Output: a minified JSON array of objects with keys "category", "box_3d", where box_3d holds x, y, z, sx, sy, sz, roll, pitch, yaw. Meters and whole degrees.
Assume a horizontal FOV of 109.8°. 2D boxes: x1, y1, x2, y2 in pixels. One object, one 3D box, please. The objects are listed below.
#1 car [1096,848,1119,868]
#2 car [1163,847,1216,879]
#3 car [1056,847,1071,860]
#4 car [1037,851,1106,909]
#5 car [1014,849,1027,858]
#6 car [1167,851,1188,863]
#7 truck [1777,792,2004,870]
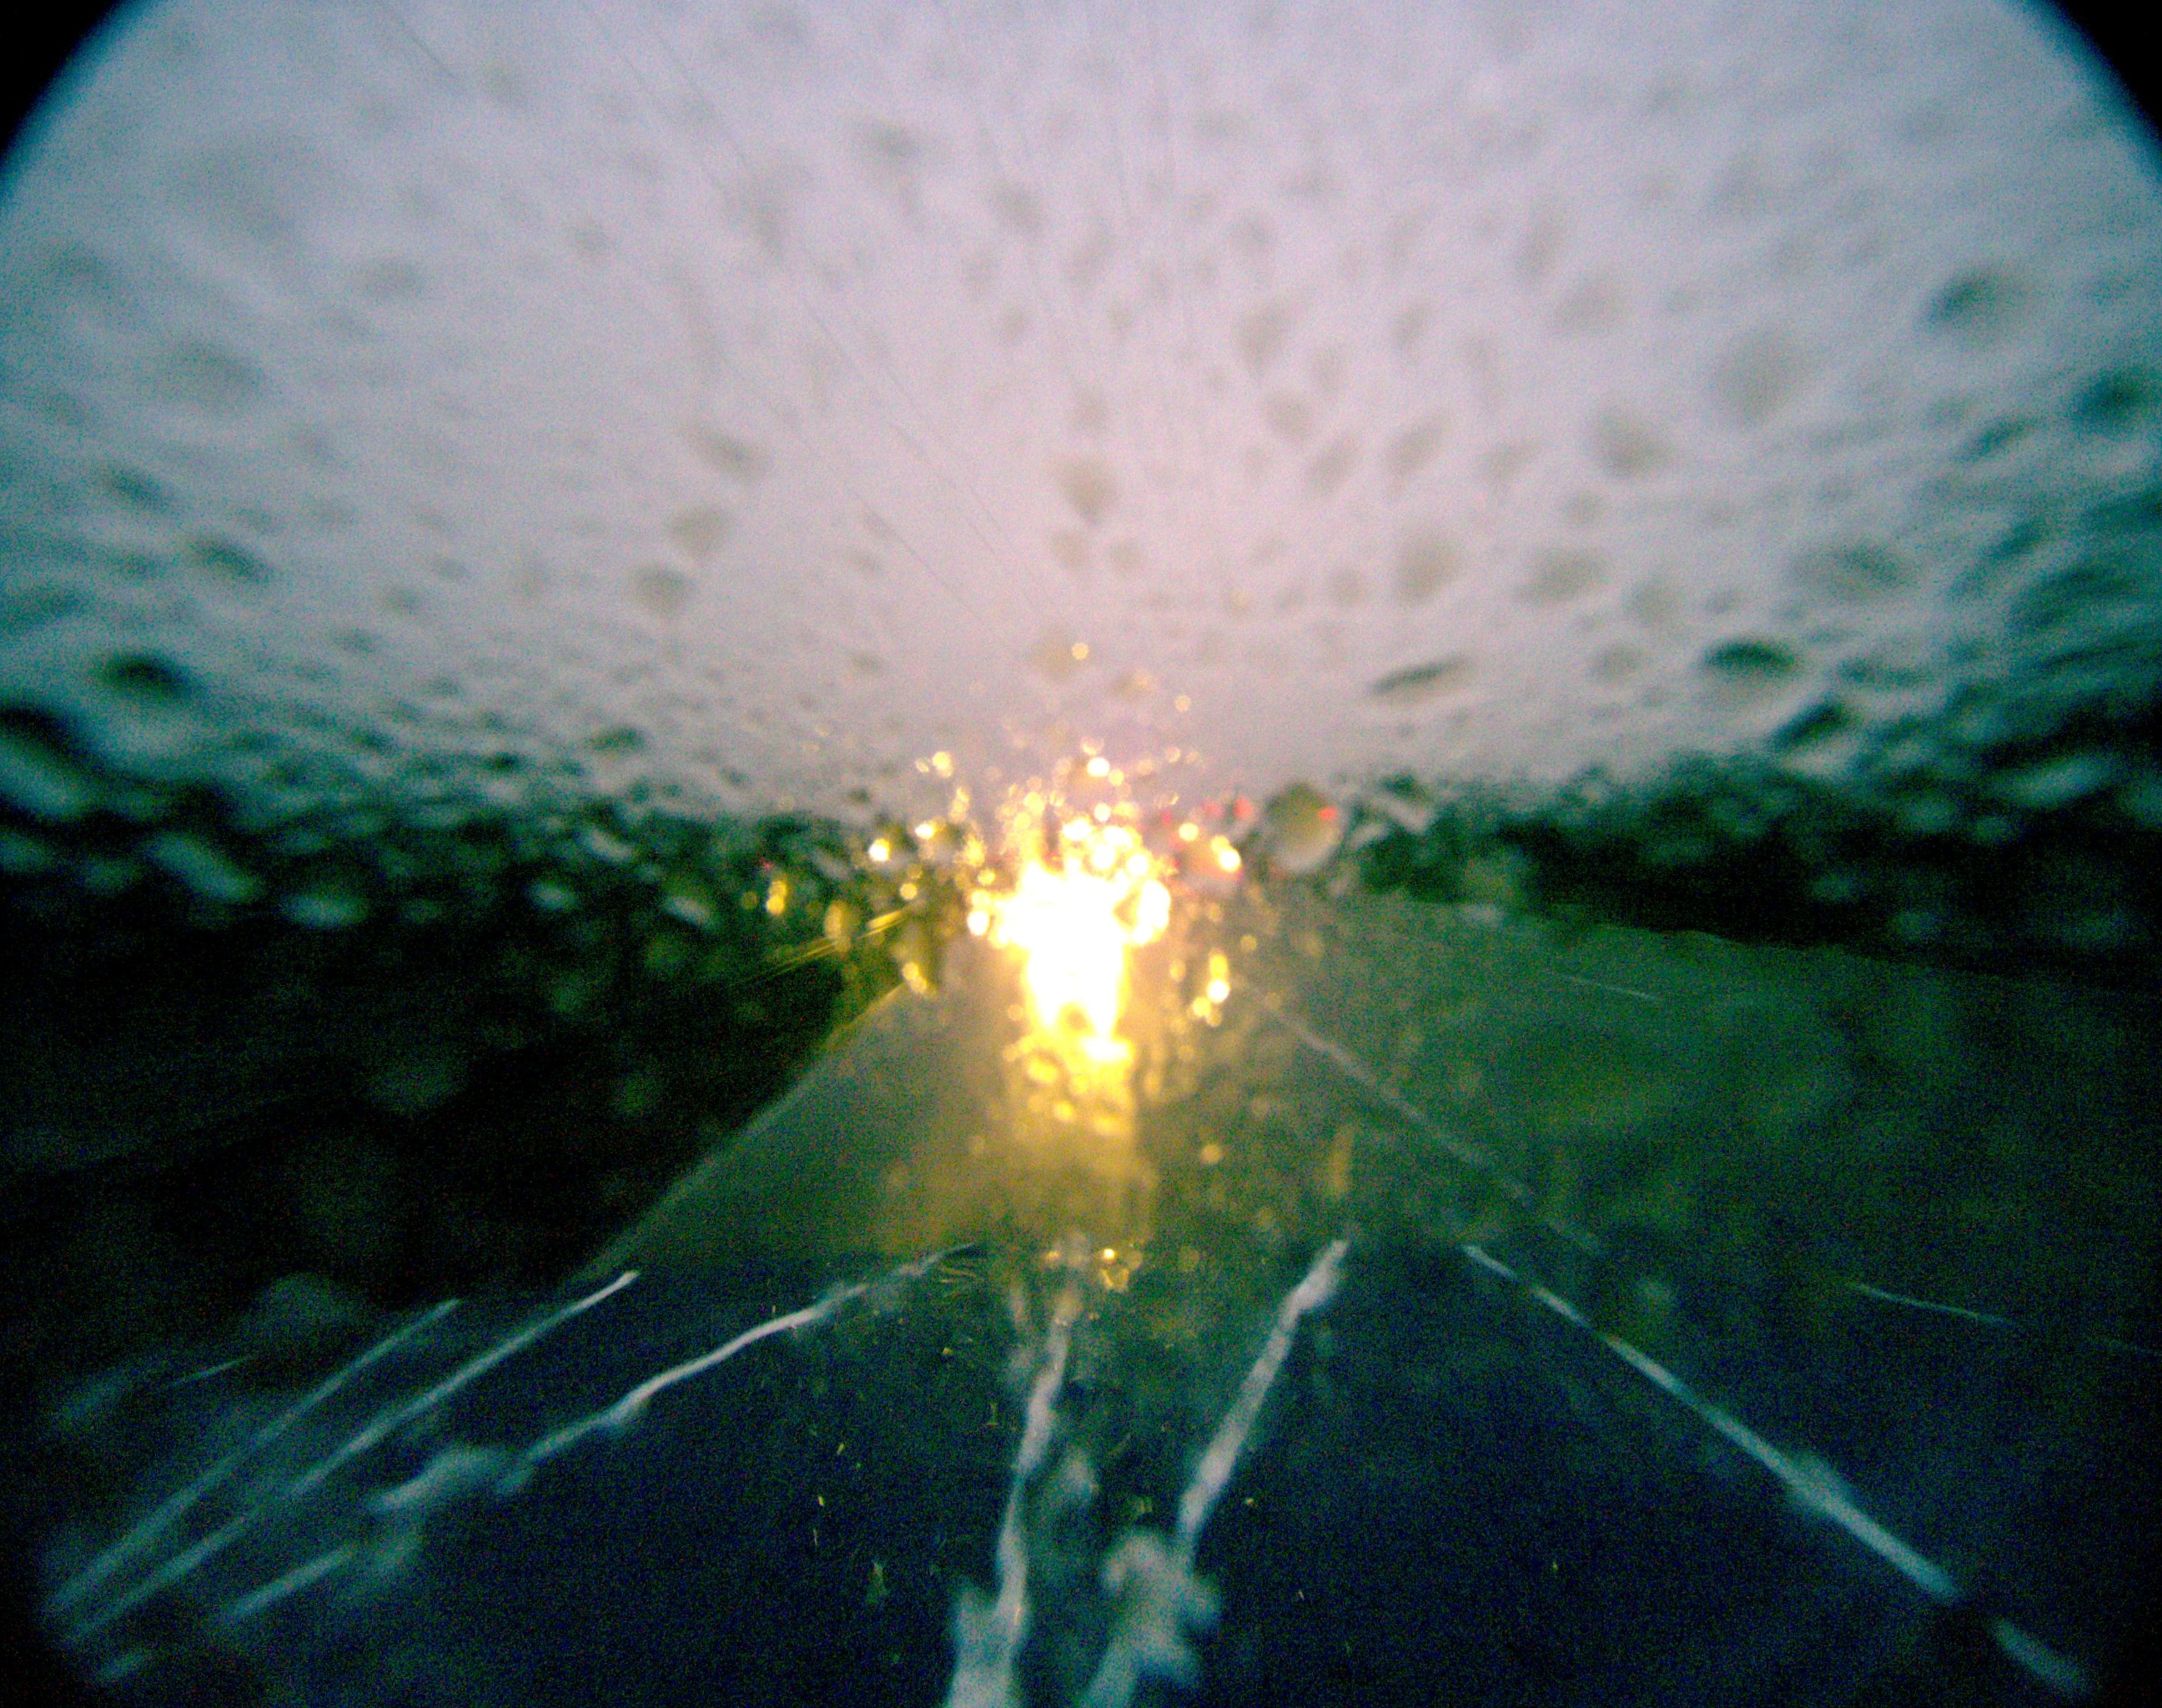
[{"category":"car","box_3d":[2.356,0.339,66.058,1.893,1.580,4.382,-2,1,2]},{"category":"car","box_3d":[5.569,0.442,39.528,1.999,1.481,4.380,-2,1,-2]},{"category":"car","box_3d":[-2.166,-0.063,91.285,1.640,1.464,4.446,-1,2,-3]},{"category":"car","box_3d":[-0.326,0.734,23.517,1.887,1.514,3.999,-3,1,-1]},{"category":"car","box_3d":[-9.745,-0.103,122.292,1.700,1.409,3.996,-2,1,-10]},{"category":"car","box_3d":[11.773,0.383,92.517,1.597,1.237,4.005,-3,0,22]},{"category":"truck","box_3d":[54.252,-1.573,51.902,3.280,4.584,13.885,0,2,13]}]
